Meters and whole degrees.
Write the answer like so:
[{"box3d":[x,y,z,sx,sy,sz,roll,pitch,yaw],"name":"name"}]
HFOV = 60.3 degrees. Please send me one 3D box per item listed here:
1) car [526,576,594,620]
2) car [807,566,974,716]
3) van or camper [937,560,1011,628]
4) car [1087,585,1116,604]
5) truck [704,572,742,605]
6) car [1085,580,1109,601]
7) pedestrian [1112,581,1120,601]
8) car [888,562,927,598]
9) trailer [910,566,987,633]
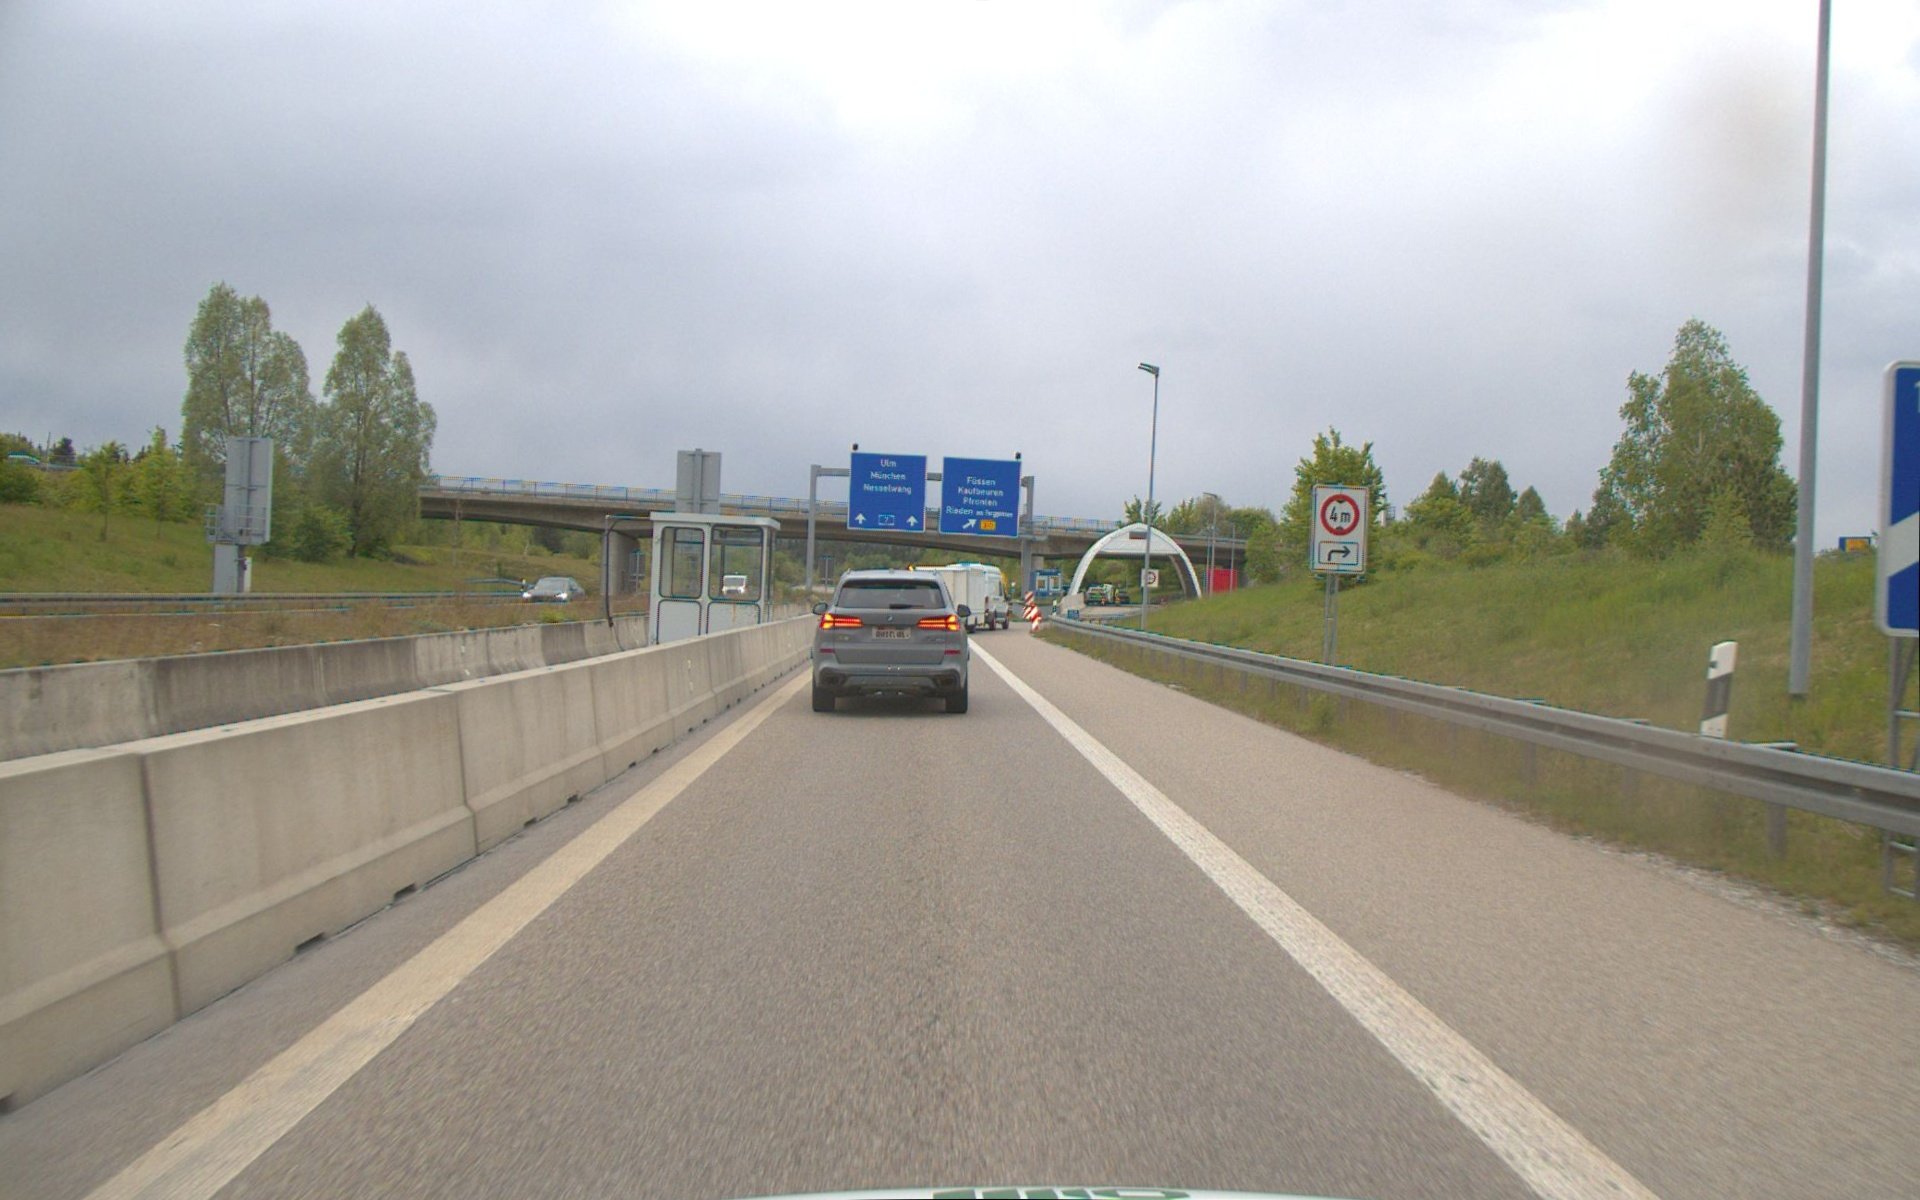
[{"box3d":[-15.610,-0.084,64.728,1.668,1.602,4.175,2,0,-1],"name":"car"},{"box3d":[-0.864,0.480,21.551,1.953,1.749,3.999,1,0,-1],"name":"car"},{"box3d":[0.659,-0.238,71.320,2.111,2.812,5.876,1,0,11],"name":"van or camper"},{"box3d":[16.093,-0.637,188.047,1.961,2.049,3.982,0,0,-16],"name":"car"},{"box3d":[-19.328,-0.935,135.075,2.309,2.522,5.986,2,0,-2],"name":"truck"},{"box3d":[12.106,-0.821,146.386,1.952,1.803,3.767,0,0,2],"name":"car"},{"box3d":[14.103,-0.791,149.601,0.634,1.806,0.606,0,0,1],"name":"pedestrian"},{"box3d":[-3.201,-1.217,99.709,2.240,2.049,5.047,1,1,-3],"name":"car"},{"box3d":[-0.361,0.003,64.989,2.230,2.473,6.822,1,0,6],"name":"trailer"}]
